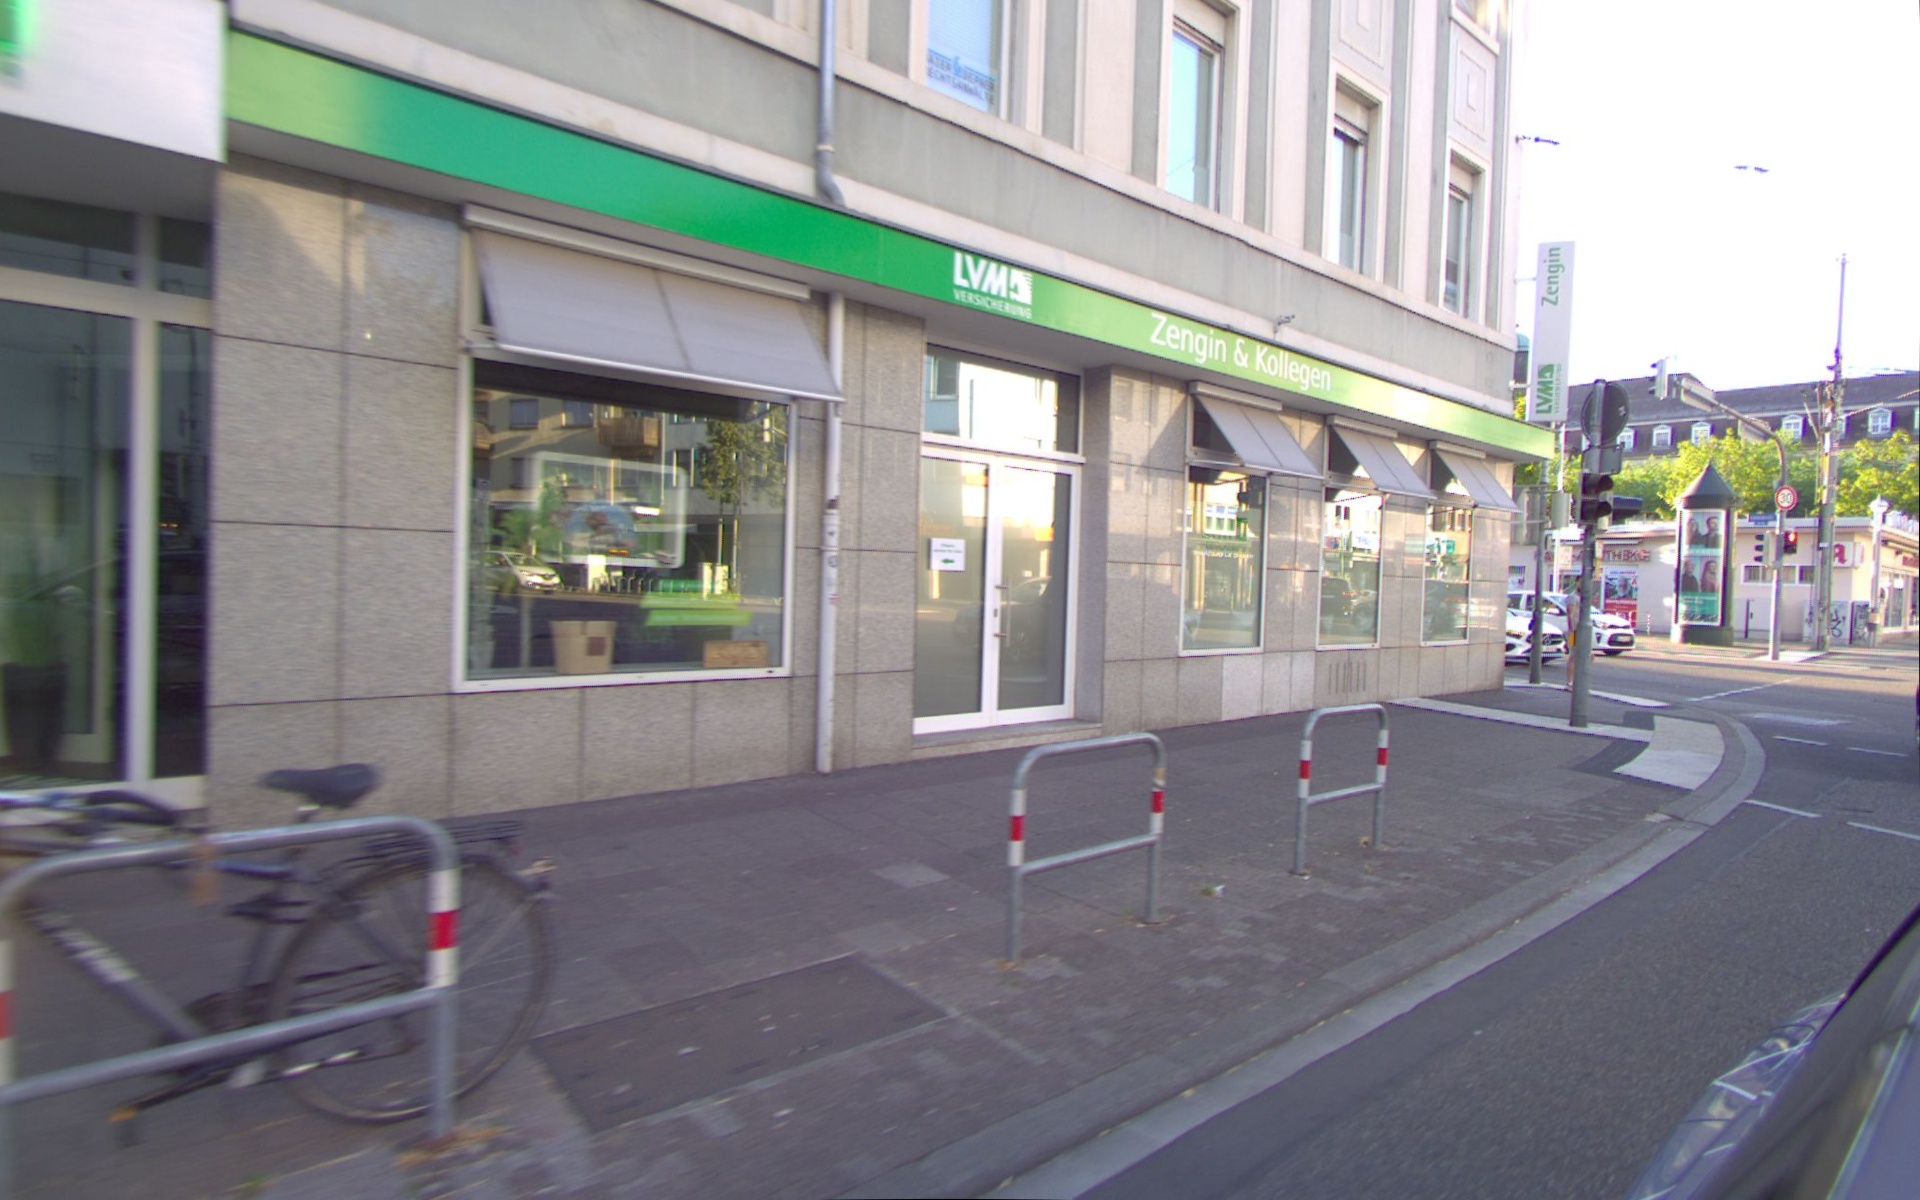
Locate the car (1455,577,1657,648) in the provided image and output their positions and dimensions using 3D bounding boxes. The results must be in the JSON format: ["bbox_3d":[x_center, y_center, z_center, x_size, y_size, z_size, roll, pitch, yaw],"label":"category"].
[{"bbox_3d":[14.842,0.269,25.422,1.685,1.489,3.990,2,3,-31],"label":"car"}]

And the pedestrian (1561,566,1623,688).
[{"bbox_3d":[9.511,0.384,15.255,0.647,1.764,0.688,2,1,26],"label":"pedestrian"}]

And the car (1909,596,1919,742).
[{"bbox_3d":[9.606,0.703,8.669,1.742,1.461,3.853,1,0,37],"label":"car"}]

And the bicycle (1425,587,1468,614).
[{"bbox_3d":[20.595,0.026,42.845,1.773,1.116,0.397,1,1,-16],"label":"bicycle"}]

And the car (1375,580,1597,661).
[{"bbox_3d":[11.176,0.364,21.829,1.790,1.490,3.994,1,2,-23],"label":"car"}]

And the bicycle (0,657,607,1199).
[{"bbox_3d":[-1.645,0.764,2.330,1.465,1.161,0.534,0,2,-42],"label":"bicycle"}]
